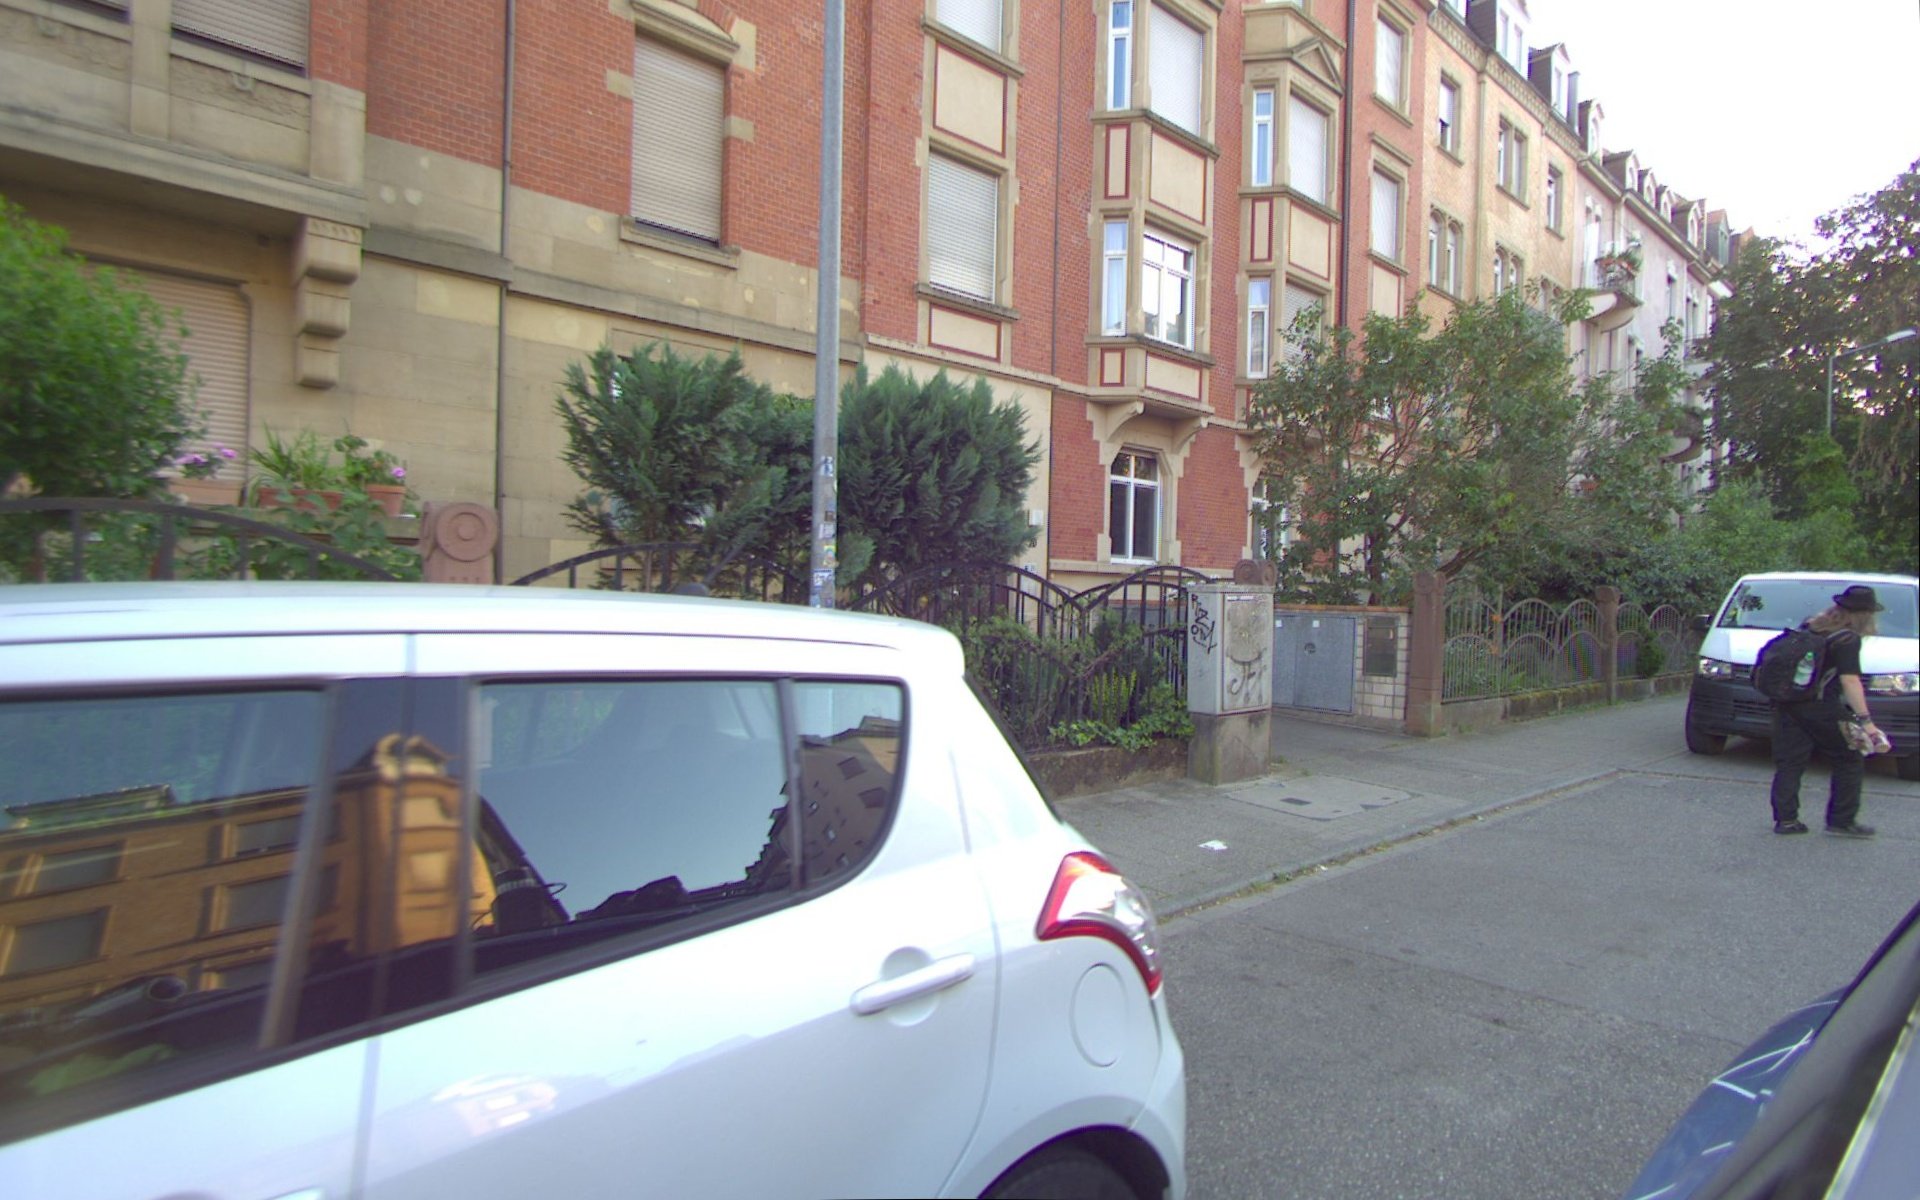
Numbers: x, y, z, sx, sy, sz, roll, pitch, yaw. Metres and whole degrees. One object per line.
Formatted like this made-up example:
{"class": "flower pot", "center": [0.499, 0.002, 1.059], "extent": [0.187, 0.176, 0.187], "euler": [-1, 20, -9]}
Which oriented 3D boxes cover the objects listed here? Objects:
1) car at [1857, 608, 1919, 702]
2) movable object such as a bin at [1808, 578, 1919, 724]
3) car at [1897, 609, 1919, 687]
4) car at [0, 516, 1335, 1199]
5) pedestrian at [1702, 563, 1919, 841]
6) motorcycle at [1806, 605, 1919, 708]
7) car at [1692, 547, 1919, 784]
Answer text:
{"class": "car", "center": [18.000, 0.958, 18.532], "extent": [4.247, 1.571, 1.724], "euler": [1, 0, -39]}
{"class": "movable object such as a bin", "center": [13.464, 0.688, 14.665], "extent": [2.285, 1.901, 1.414], "euler": [1, 2, -42]}
{"class": "car", "center": [21.903, 0.998, 21.909], "extent": [4.755, 1.602, 1.760], "euler": [1, -1, -39]}
{"class": "car", "center": [-1.281, 0.672, 1.407], "extent": [3.791, 1.496, 1.678], "euler": [1, 0, -39]}
{"class": "pedestrian", "center": [5.811, 0.642, 6.828], "extent": [0.941, 1.744, 0.891], "euler": [0, -1, 1]}
{"class": "motorcycle", "center": [14.935, 0.897, 15.966], "extent": [2.066, 1.500, 1.128], "euler": [3, 2, 16]}
{"class": "car", "center": [9.987, 0.568, 11.261], "extent": [5.450, 2.064, 1.865], "euler": [1, 2, -43]}
